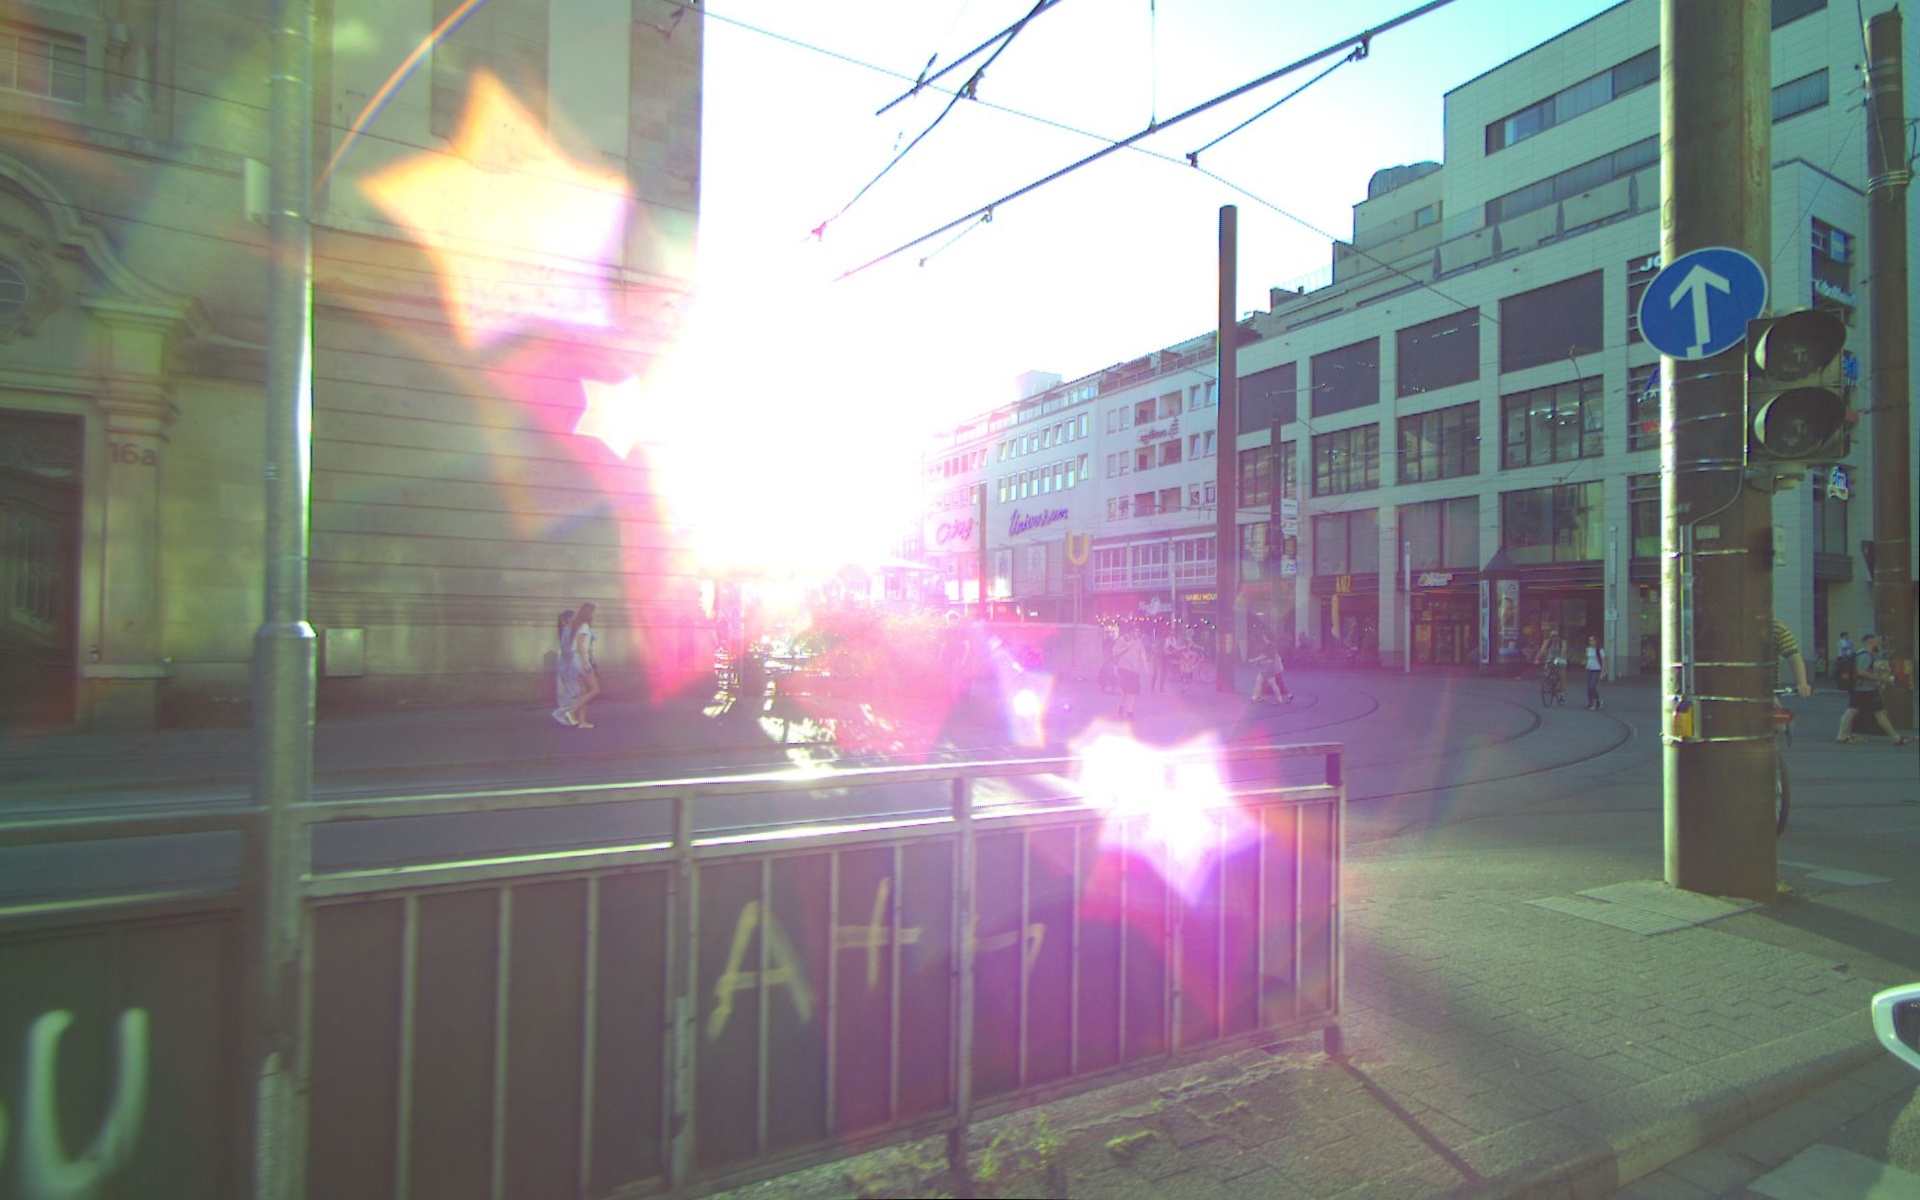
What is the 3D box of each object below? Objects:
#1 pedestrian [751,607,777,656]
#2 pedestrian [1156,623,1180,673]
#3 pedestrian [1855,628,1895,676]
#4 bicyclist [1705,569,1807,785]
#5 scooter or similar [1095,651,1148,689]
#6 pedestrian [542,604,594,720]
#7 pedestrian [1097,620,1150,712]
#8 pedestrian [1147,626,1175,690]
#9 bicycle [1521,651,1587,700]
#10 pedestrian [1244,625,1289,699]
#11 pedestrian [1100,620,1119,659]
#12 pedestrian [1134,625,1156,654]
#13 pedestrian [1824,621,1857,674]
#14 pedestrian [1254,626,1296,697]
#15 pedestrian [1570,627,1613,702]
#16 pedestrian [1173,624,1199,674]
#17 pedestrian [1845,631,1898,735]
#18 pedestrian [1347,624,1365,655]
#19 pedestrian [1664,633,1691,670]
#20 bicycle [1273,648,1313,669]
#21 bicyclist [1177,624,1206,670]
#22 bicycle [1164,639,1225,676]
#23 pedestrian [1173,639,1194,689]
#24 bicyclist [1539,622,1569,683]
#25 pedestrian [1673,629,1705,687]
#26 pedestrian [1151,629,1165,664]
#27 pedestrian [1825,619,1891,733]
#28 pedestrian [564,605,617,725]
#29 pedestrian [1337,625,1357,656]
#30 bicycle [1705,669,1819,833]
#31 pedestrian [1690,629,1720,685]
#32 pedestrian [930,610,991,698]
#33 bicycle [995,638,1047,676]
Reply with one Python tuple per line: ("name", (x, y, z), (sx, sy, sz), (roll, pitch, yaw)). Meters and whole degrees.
("pedestrian", (-7.072, 1.139, 36.226), (0.714, 1.728, 0.494), (2, -1, -36))
("pedestrian", (7.163, 1.646, 34.637), (0.641, 1.696, 0.527), (1, -1, -23))
("pedestrian", (33.156, 1.888, 36.402), (0.803, 1.681, 0.766), (1, 0, -16))
("bicyclist", (6.342, 0.590, 8.020), (0.601, 1.614, 0.788), (-1, -2, 39))
("scooter or similar", (4.112, 1.761, 25.611), (0.879, 0.916, 1.089), (1, -2, -28))
("pedestrian", (-5.388, 0.838, 13.812), (0.498, 1.545, 0.513), (1, -1, -42))
("pedestrian", (3.001, 1.198, 18.463), (0.788, 1.650, 0.834), (1, -1, -3))
("pedestrian", (5.090, 1.457, 25.472), (0.472, 1.594, 0.649), (1, -1, -15))
("bicycle", (14.264, 1.784, 24.094), (2.002, 1.112, 0.569), (2, -1, -35))
("pedestrian", (6.966, 1.395, 22.841), (0.810, 1.635, 0.691), (-1, -2, 35))
("pedestrian", (6.500, 1.723, 43.623), (0.643, 1.696, 0.526), (1, -2, -29))
("pedestrian", (10.693, 2.261, 58.152), (0.889, 1.658, 0.946), (2, -2, -26))
("pedestrian", (31.860, 1.726, 36.347), (0.803, 1.879, 0.572), (1, 0, -18))
("pedestrian", (7.399, 1.433, 23.584), (0.759, 1.635, 0.665), (-1, -2, 35))
("pedestrian", (14.649, 1.487, 23.309), (0.522, 1.696, 0.647), (1, -1, -21))
("pedestrian", (7.859, 1.694, 34.910), (0.743, 1.696, 0.527), (1, -1, -23))
("pedestrian", (14.476, 1.300, 15.963), (0.562, 1.614, 0.446), (-1, -2, 37))
("pedestrian", (22.305, 2.221, 56.578), (0.568, 1.702, 0.671), (2, 0, -29))
("pedestrian", (30.771, 2.195, 43.089), (0.778, 1.546, 0.572), (1, 0, -18))
("bicycle", (16.784, 2.957, 50.645), (1.888, 0.999, 0.451), (1, 0, 6))
("bicyclist", (7.660, 1.536, 33.182), (0.856, 1.484, 0.600), (1, 0, 17))
("bicycle", (7.749, 1.895, 33.157), (1.880, 1.130, 0.701), (1, -1, 18))
("pedestrian", (5.763, 1.638, 25.904), (0.405, 1.259, 0.483), (-1, -2, 33))
("bicyclist", (14.244, 1.251, 24.097), (0.558, 1.446, 0.418), (2, 0, -35))
("pedestrian", (21.517, 1.705, 29.646), (0.643, 1.696, 0.526), (1, -2, -29))
("pedestrian", (9.323, 2.189, 47.299), (0.574, 1.658, 0.685), (0, -2, 5))
("pedestrian", (13.972, 1.161, 15.646), (0.735, 1.722, 0.607), (-1, -2, 41))
("pedestrian", (-4.899, 0.851, 13.311), (0.498, 1.545, 0.521), (1, -1, -40))
("pedestrian", (21.630, 2.266, 56.131), (0.675, 1.702, 0.810), (2, 0, -28))
("bicycle", (6.240, 1.114, 7.872), (0.620, 1.118, 1.619), (-1, -3, 37))
("pedestrian", (22.905, 1.739, 30.894), (0.643, 1.696, 0.526), (1, -2, -29))
("pedestrian", (0.017, 1.035, 19.427), (0.961, 1.650, 0.685), (1, -1, -31))
("bicycle", (1.844, 1.721, 30.390), (1.560, 1.100, 0.448), (2, -1, -27))
